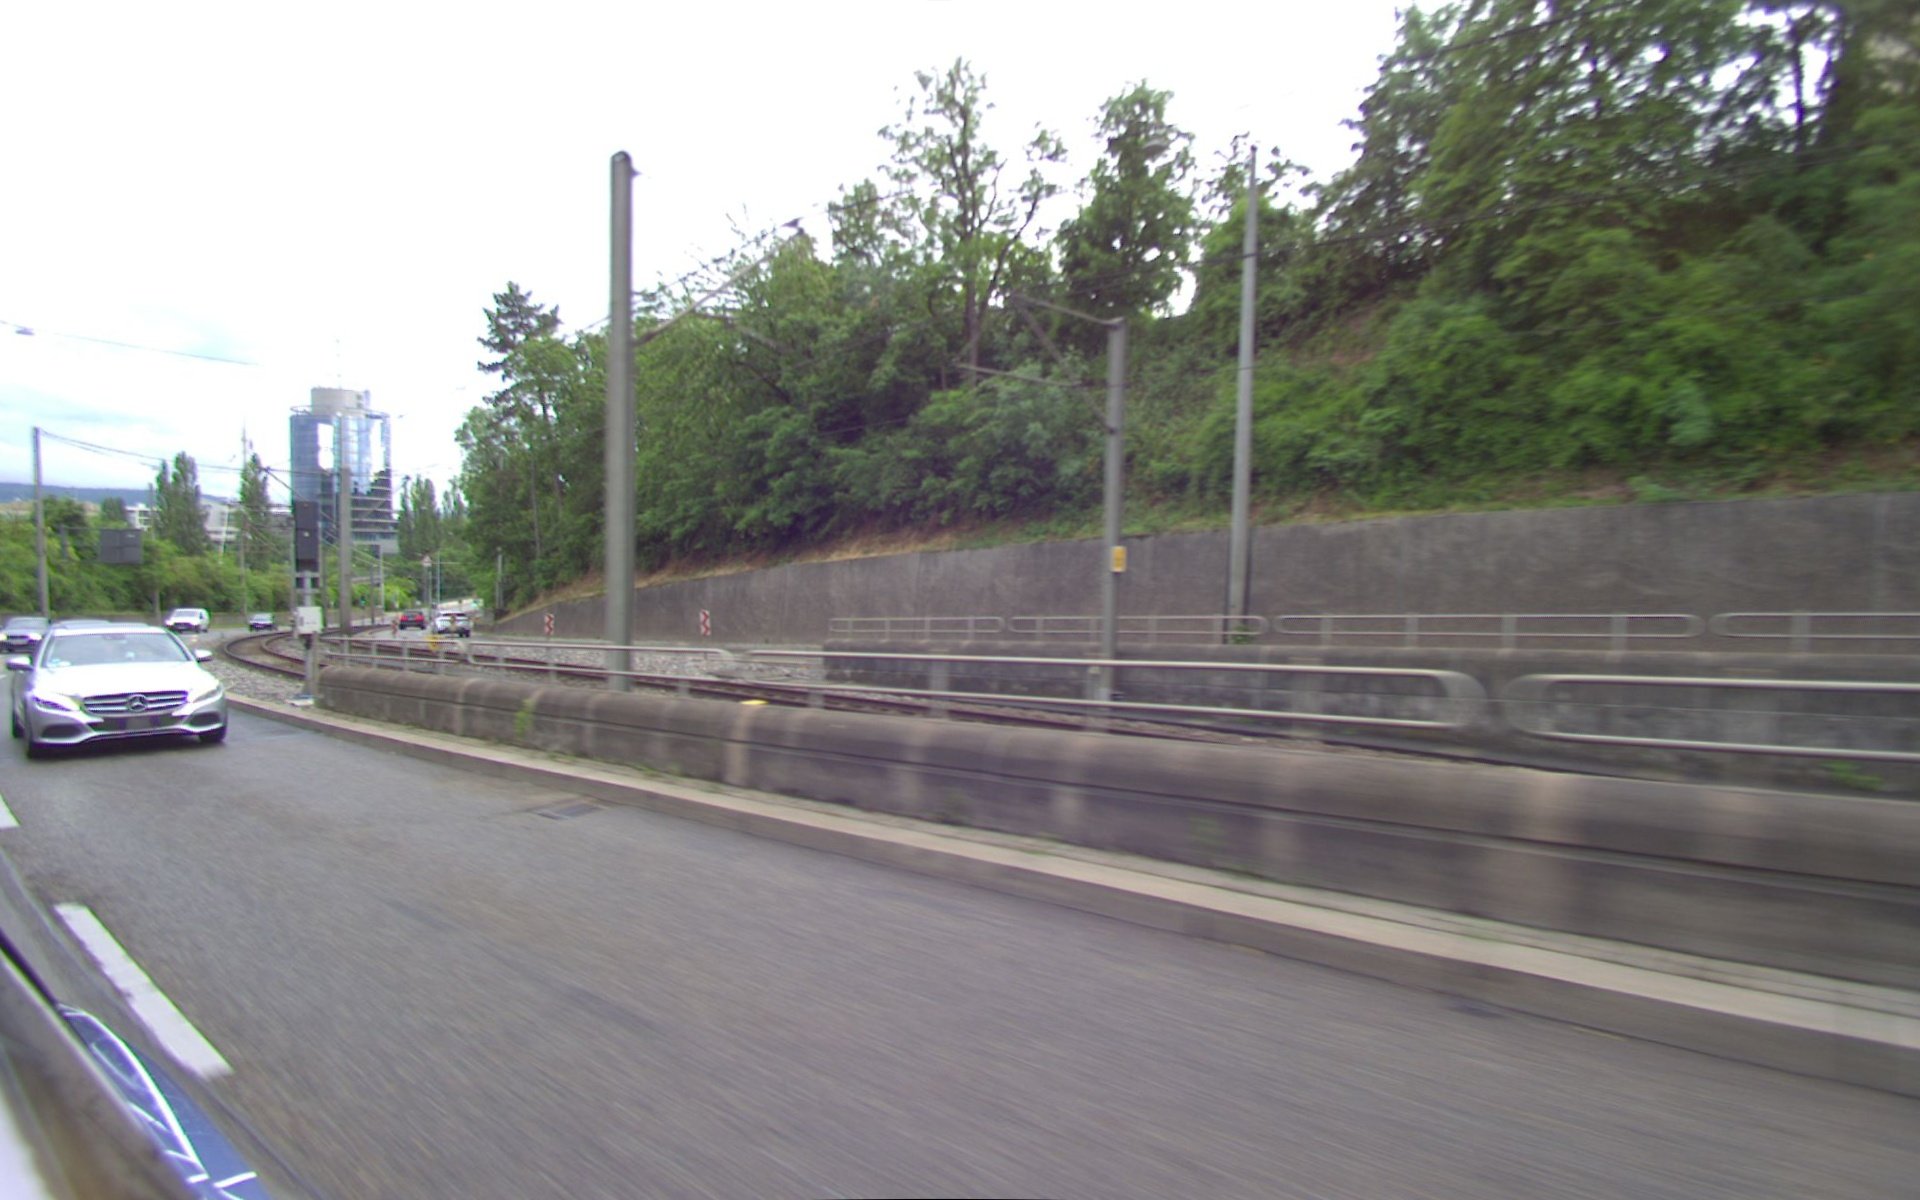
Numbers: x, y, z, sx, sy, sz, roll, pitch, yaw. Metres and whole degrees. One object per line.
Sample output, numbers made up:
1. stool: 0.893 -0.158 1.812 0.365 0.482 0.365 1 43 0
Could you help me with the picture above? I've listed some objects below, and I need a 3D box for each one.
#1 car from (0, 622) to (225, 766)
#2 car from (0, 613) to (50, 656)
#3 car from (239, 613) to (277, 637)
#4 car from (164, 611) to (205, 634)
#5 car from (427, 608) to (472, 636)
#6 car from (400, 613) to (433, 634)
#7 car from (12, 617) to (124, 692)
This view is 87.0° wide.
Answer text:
1. car: -10.572 1.003 12.494 1.835 1.413 4.318 0 -1 -44
2. car: -38.240 1.382 41.133 1.783 1.521 4.006 -3 3 -42
3. car: -62.603 2.215 90.297 1.965 2.029 4.509 0 -1 -24
4. car: -59.639 1.683 77.881 1.780 1.521 4.013 -2 2 -28
5. car: -32.097 1.384 63.581 1.909 1.696 4.419 1 -1 -35
6. car: -49.992 2.165 93.162 2.202 1.845 5.154 0 -2 -23
7. car: -19.543 1.150 22.311 1.703 1.482 3.894 1 -2 -39
